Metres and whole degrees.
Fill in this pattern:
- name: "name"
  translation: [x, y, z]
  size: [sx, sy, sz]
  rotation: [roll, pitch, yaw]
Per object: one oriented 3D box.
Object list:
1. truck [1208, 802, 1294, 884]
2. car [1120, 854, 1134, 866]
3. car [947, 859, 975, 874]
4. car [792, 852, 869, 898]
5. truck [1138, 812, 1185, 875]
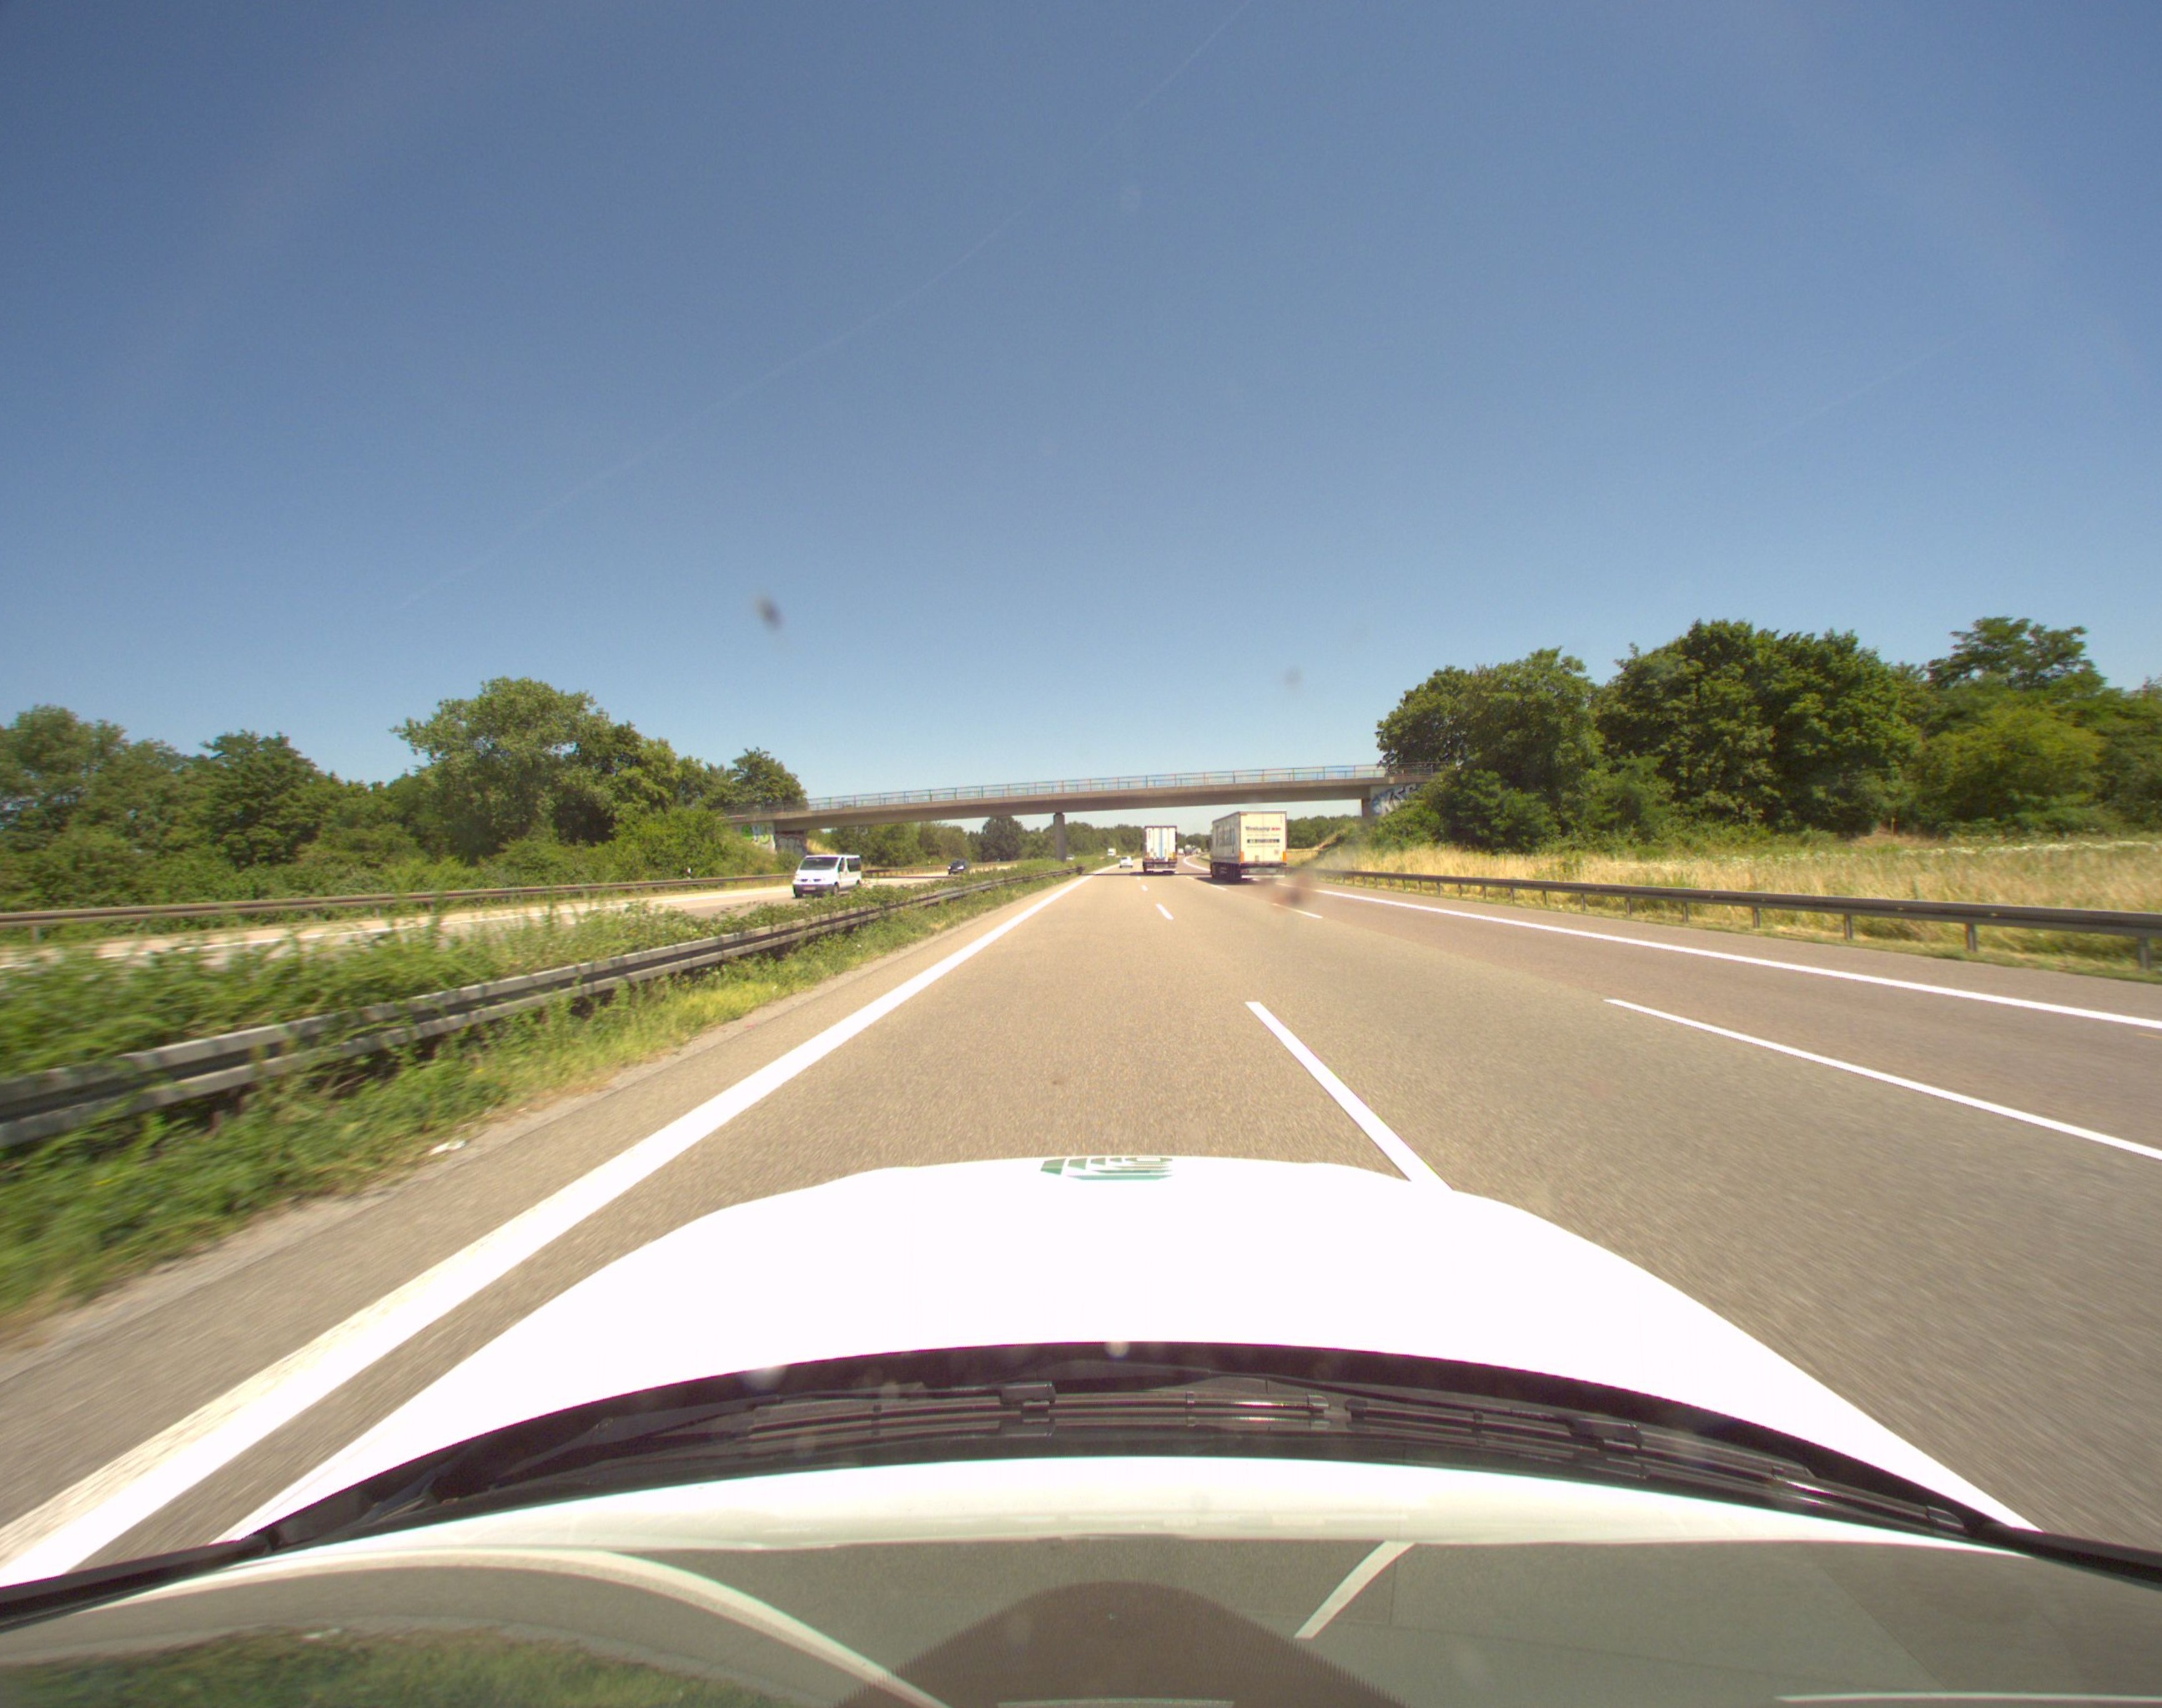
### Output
- name: "truck"
  translation: [10.344, -0.618, 51.479]
  size: [3.167, 4.304, 16.035]
  rotation: [-1, 0, 4]
- name: "car"
  translation: [6.158, 0.827, 108.641]
  size: [1.819, 1.547, 4.325]
  rotation: [0, 0, 5]
- name: "car"
  translation: [-12.605, 1.295, 85.672]
  size: [1.819, 1.461, 4.326]
  rotation: [0, 0, 6]
- name: "car"
  translation: [-11.810, 0.951, 38.763]
  size: [1.820, 2.014, 5.333]
  rotation: [0, 0, 2]
- name: "truck"
  translation: [7.029, -0.867, 73.177]
  size: [3.650, 5.018, 16.035]
  rotation: [-1, 0, 4]
